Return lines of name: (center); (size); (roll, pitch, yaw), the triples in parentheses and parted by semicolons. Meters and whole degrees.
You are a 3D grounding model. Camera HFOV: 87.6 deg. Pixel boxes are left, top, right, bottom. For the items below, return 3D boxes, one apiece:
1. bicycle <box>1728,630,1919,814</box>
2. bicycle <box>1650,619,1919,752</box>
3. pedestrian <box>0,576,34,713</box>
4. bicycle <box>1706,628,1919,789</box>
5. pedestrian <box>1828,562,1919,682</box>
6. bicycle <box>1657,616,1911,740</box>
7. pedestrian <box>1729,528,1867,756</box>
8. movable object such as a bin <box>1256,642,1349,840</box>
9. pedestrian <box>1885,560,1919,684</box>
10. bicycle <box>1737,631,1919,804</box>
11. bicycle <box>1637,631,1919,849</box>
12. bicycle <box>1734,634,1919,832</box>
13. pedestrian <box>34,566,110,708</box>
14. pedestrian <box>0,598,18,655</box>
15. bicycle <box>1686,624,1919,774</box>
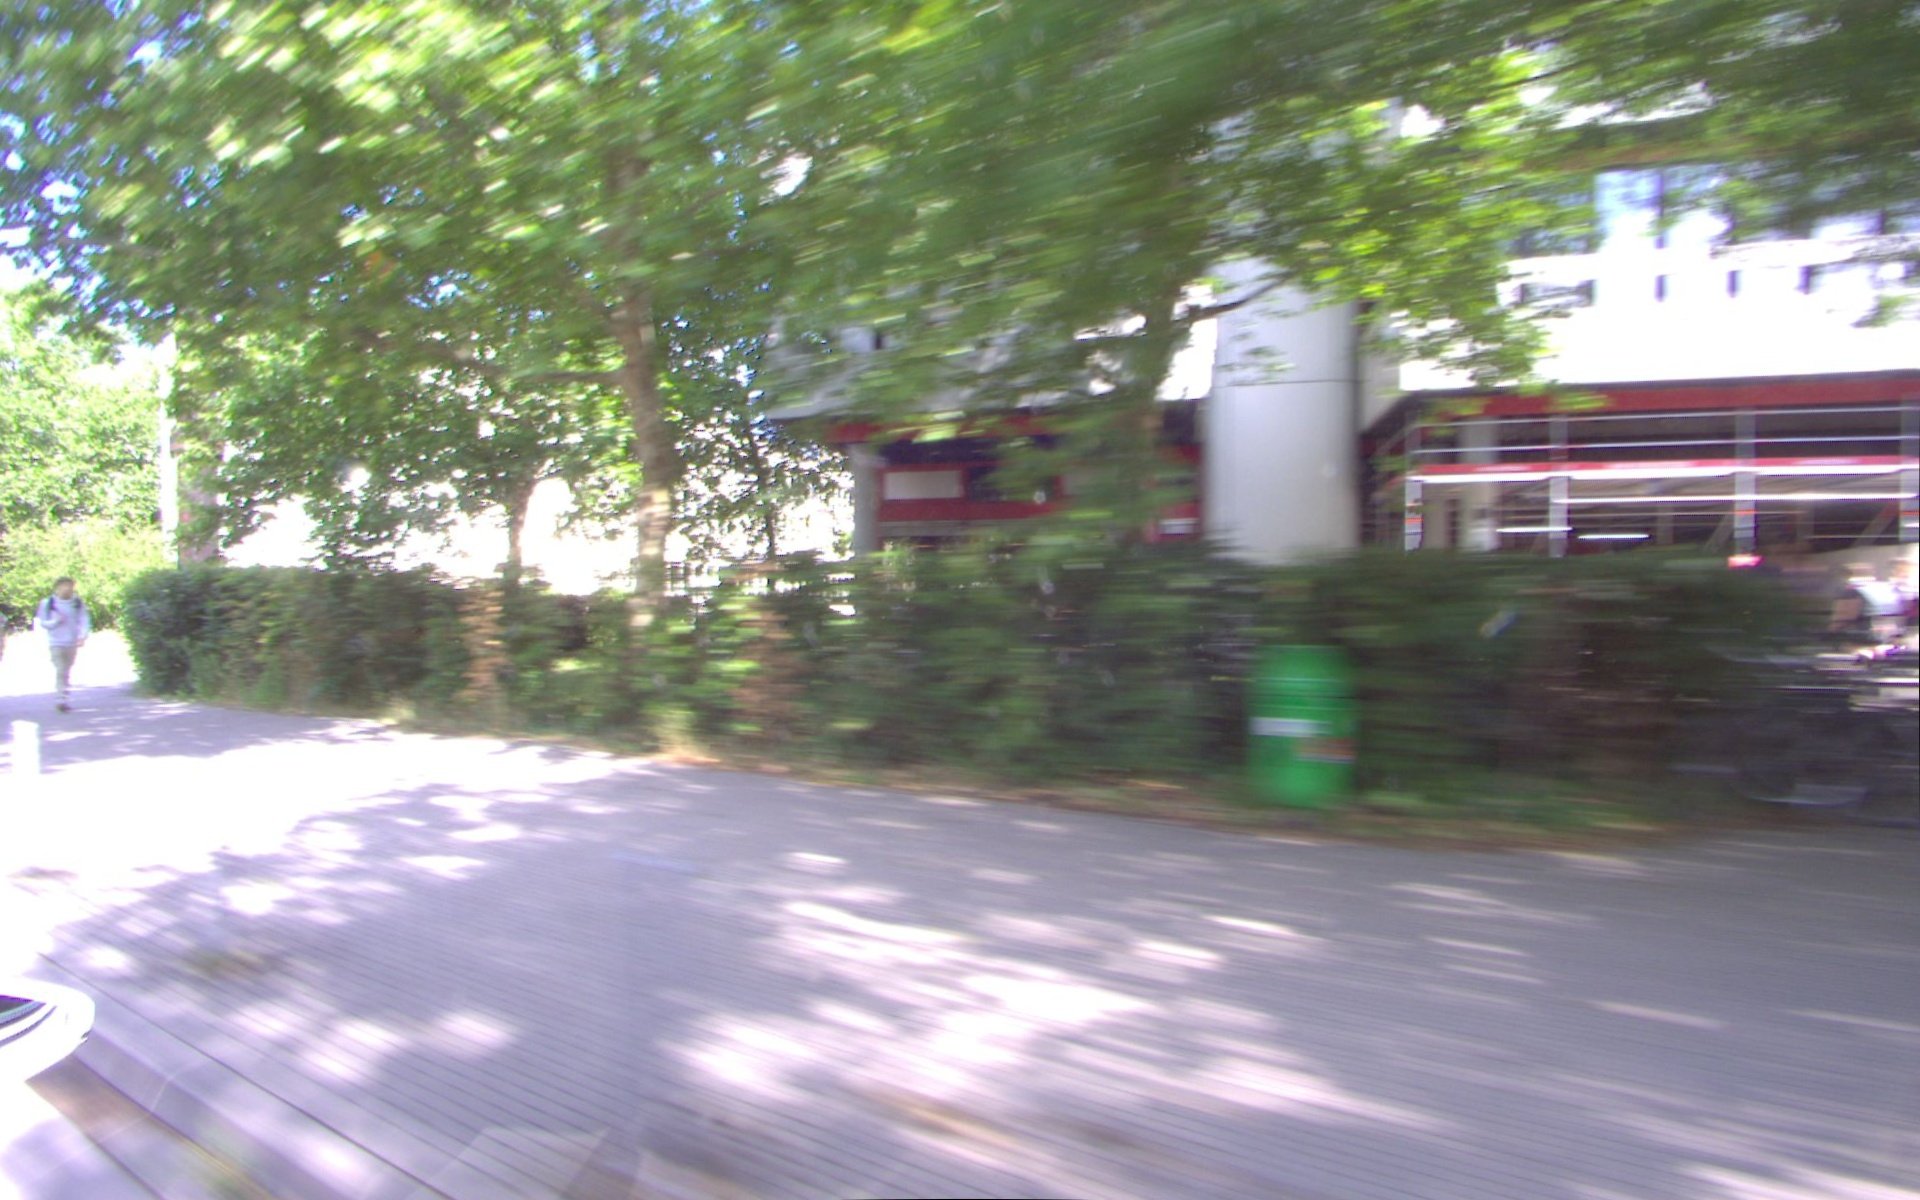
bicycle: (6.144, 0.762, 6.393); (1.902, 1.133, 0.499); (0, 0, 19)
bicycle: (7.401, 0.739, 9.060); (1.839, 1.133, 0.499); (0, 0, 19)
pedestrian: (-12.804, 0.575, 13.122); (0.829, 1.778, 0.819); (0, 0, 34)
bicycle: (6.723, 0.778, 7.369); (1.906, 1.133, 0.499); (0, 0, 19)
pedestrian: (12.570, 0.300, 13.761); (0.715, 1.593, 0.759); (0, 0, 17)
bicycle: (7.910, 0.720, 9.695); (1.839, 1.133, 0.499); (0, 0, 19)
pedestrian: (7.114, 0.347, 8.533); (0.748, 1.861, 0.544); (0, 0, 20)
movable object such as a bin: (2.024, 0.801, 5.912); (0.496, 1.086, 0.489); (0, 0, 21)
pedestrian: (13.330, 0.297, 13.686); (0.710, 1.657, 0.830); (0, 0, 16)
bicycle: (6.509, 0.784, 6.834); (1.839, 1.133, 0.499); (0, 0, 19)
bicycle: (4.963, 0.747, 5.609); (1.839, 1.133, 0.620); (0, 0, 19)
bicycle: (5.806, 0.774, 5.954); (1.839, 1.133, 0.499); (0, 0, 19)
pedestrian: (-12.321, 0.499, 13.890); (0.782, 1.897, 0.669); (0, 0, 38)
pedestrian: (-30.566, 0.838, 31.857); (0.621, 1.778, 0.817); (0, 0, 40)
bicycle: (6.973, 0.763, 7.987); (1.839, 1.133, 0.499); (0, 0, 19)
